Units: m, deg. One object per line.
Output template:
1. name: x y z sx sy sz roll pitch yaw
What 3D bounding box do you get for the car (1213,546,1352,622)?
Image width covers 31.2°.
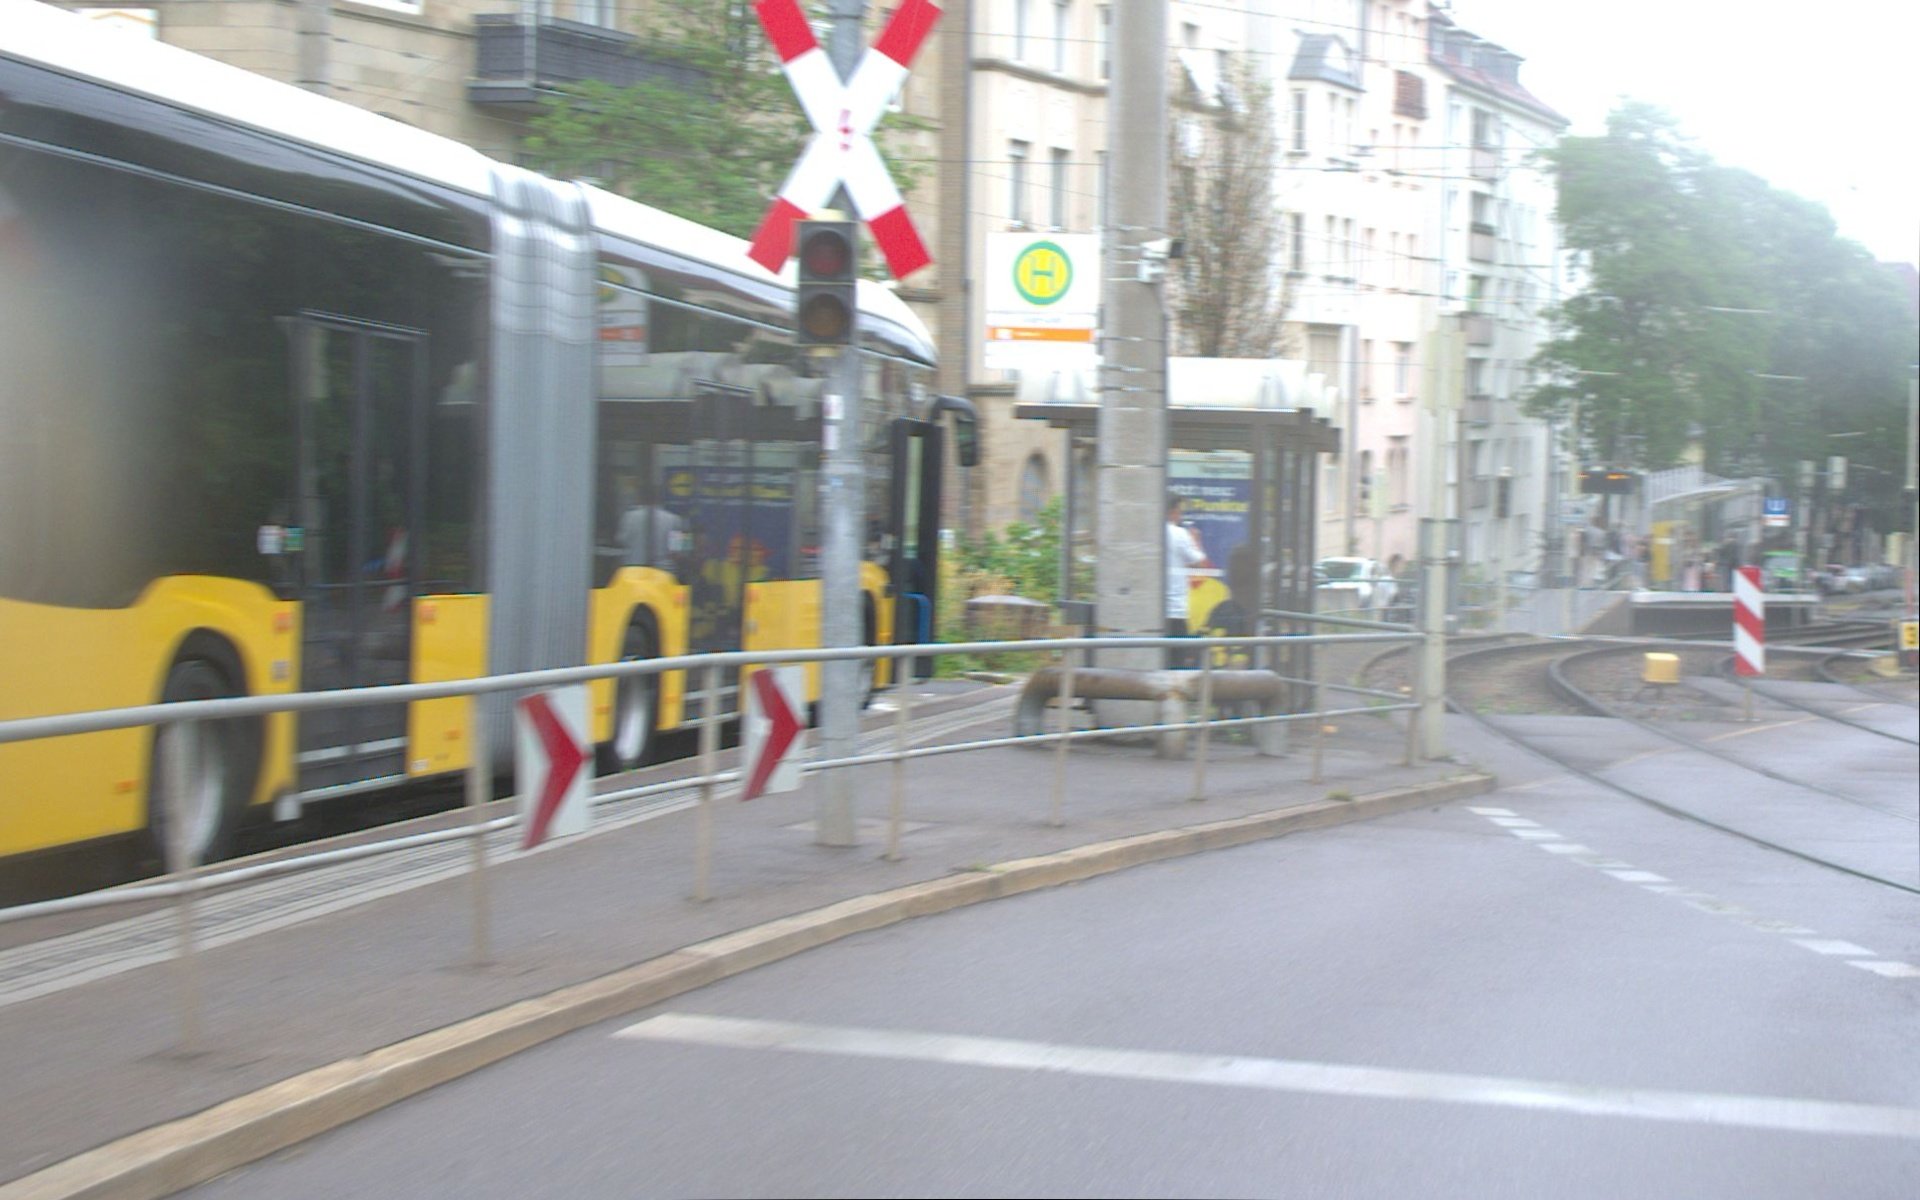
1. car: 7.467 -0.356 79.188 1.996 1.527 4.527 4 0 20

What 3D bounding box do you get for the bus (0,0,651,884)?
1. bus: -3.915 -0.799 14.721 2.592 3.457 9.103 1 0 12

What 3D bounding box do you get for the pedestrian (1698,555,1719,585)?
1. pedestrian: 22.020 -0.873 101.121 0.550 0.869 0.613 0 0 20

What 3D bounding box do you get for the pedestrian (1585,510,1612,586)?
1. pedestrian: 15.470 -1.252 83.293 0.561 1.844 0.598 0 0 20

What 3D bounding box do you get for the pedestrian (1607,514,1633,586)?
1. pedestrian: 16.887 -1.279 87.961 0.516 1.831 0.761 0 0 20

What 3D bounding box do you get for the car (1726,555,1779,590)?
1. car: 36.518 -1.290 158.358 1.728 1.510 4.491 1 2 21

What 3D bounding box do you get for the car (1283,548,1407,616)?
1. car: 9.484 -0.461 84.440 1.925 1.617 4.530 0 1 21

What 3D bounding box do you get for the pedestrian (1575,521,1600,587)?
1. pedestrian: 15.324 -1.129 83.958 0.516 1.599 0.562 0 0 20

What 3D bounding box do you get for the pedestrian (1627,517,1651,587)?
1. pedestrian: 18.032 -1.276 91.308 0.516 1.831 0.761 0 0 20

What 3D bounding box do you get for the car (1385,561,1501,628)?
1. car: 13.064 -0.128 92.769 1.996 1.726 4.808 0 0 22

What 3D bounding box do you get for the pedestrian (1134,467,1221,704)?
1. pedestrian: 1.627 -0.110 25.715 0.576 1.746 0.543 1 0 9
